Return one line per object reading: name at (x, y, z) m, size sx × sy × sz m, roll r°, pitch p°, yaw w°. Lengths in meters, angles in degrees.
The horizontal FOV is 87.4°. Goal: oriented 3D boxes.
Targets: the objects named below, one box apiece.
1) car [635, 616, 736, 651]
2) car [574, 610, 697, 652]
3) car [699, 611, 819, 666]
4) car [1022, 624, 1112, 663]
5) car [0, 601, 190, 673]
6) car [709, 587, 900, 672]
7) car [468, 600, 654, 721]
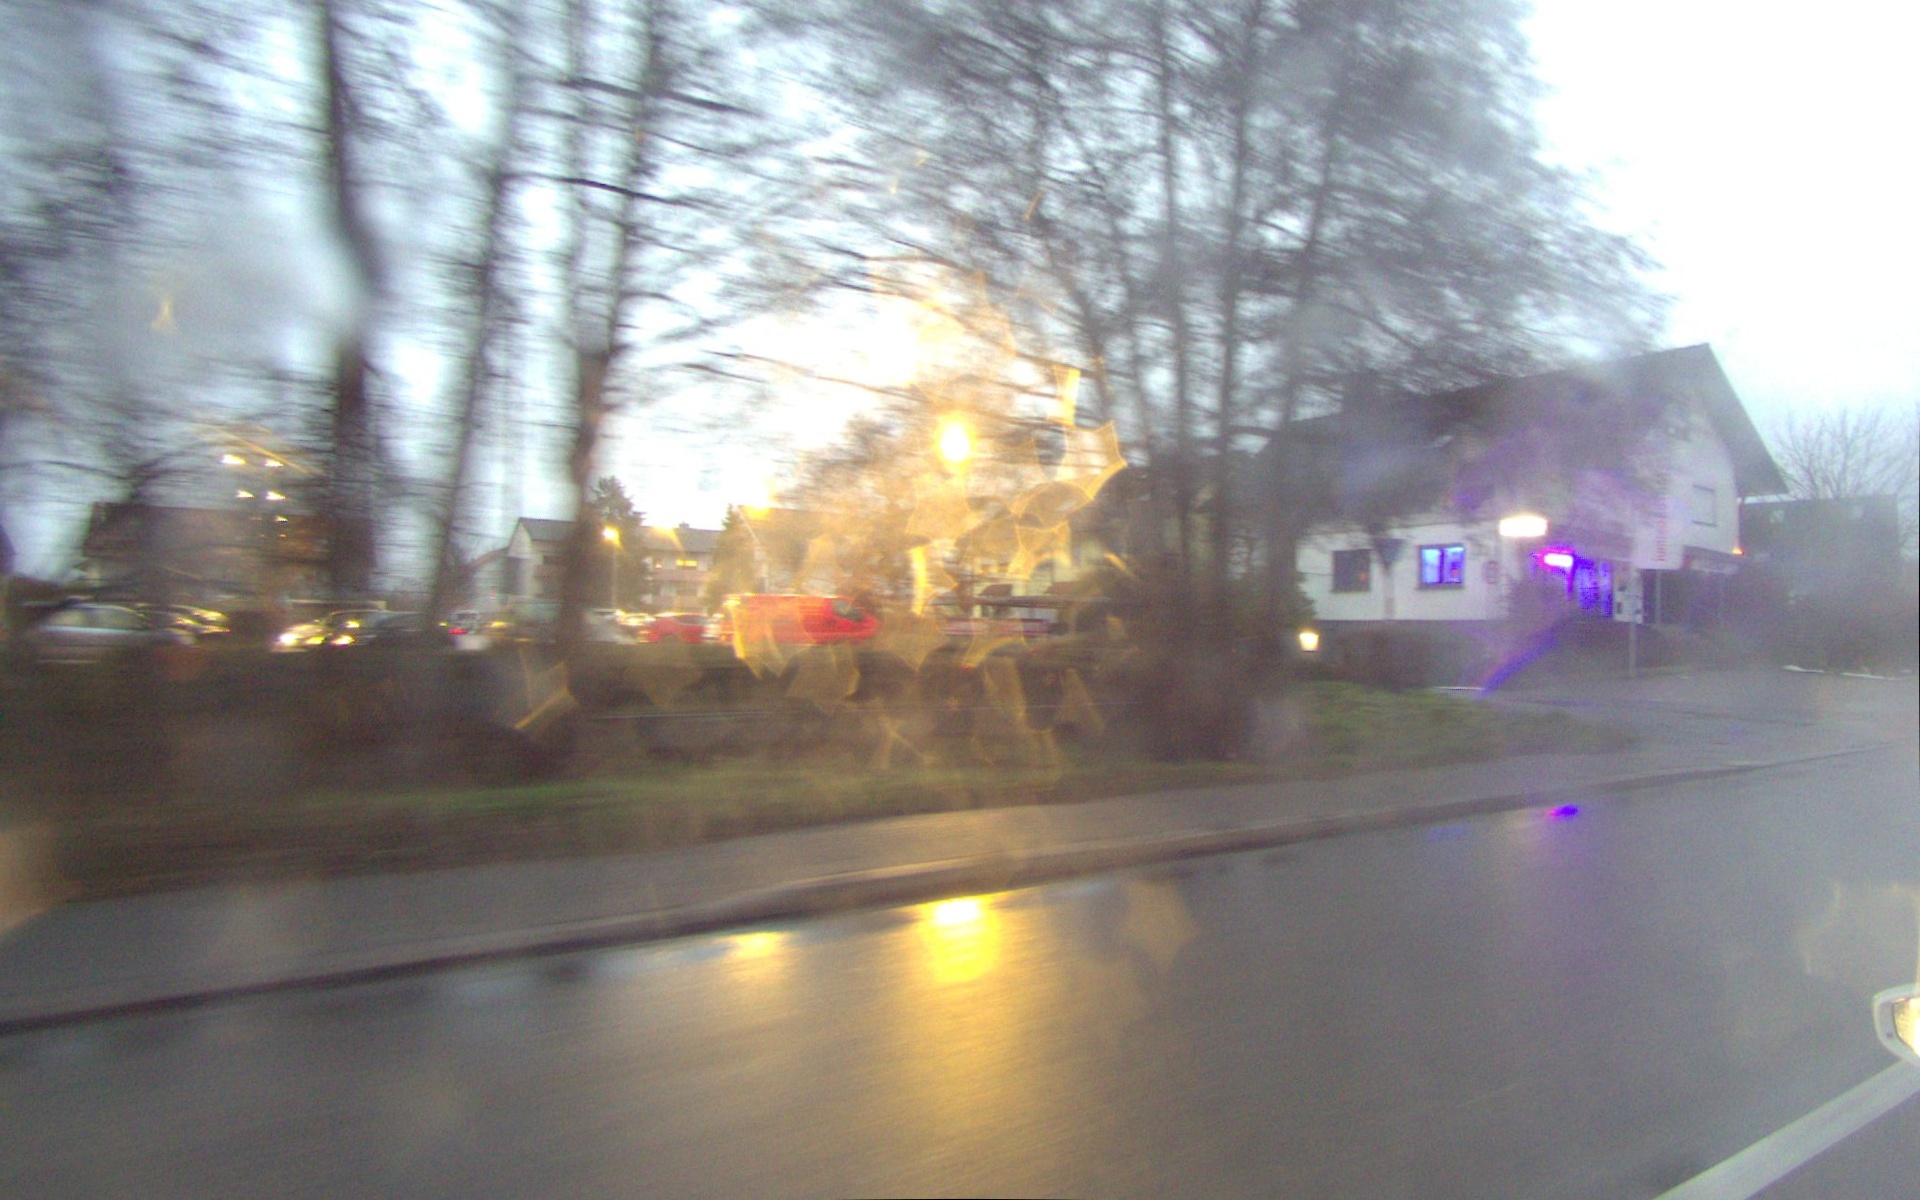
car at (-10.275, 1.228, 37.698) m, size 3.358 × 1.146 × 1.550 m, roll 0°, pitch 3°, yaw -35°
car at (-13.738, 1.282, 42.650) m, size 4.613 × 1.590 × 2.034 m, roll 0°, pitch 2°, yaw -35°
car at (-6.859, 1.258, 34.334) m, size 3.672 × 1.662 × 1.683 m, roll 0°, pitch 3°, yaw -35°
car at (4.174, 1.670, 38.969) m, size 3.341 × 1.350 × 1.423 m, roll 2°, pitch 2°, yaw -36°
car at (-22.194, 0.896, 25.658) m, size 3.966 × 1.639 × 1.896 m, roll -1°, pitch 2°, yaw -40°
car at (-4.633, 0.800, 30.210) m, size 5.215 × 2.310 × 2.266 m, roll 0°, pitch 2°, yaw -35°
car at (-8.105, 1.072, 20.147) m, size 2.111 × 2.003 × 4.605 m, roll -1°, pitch 2°, yaw -41°
